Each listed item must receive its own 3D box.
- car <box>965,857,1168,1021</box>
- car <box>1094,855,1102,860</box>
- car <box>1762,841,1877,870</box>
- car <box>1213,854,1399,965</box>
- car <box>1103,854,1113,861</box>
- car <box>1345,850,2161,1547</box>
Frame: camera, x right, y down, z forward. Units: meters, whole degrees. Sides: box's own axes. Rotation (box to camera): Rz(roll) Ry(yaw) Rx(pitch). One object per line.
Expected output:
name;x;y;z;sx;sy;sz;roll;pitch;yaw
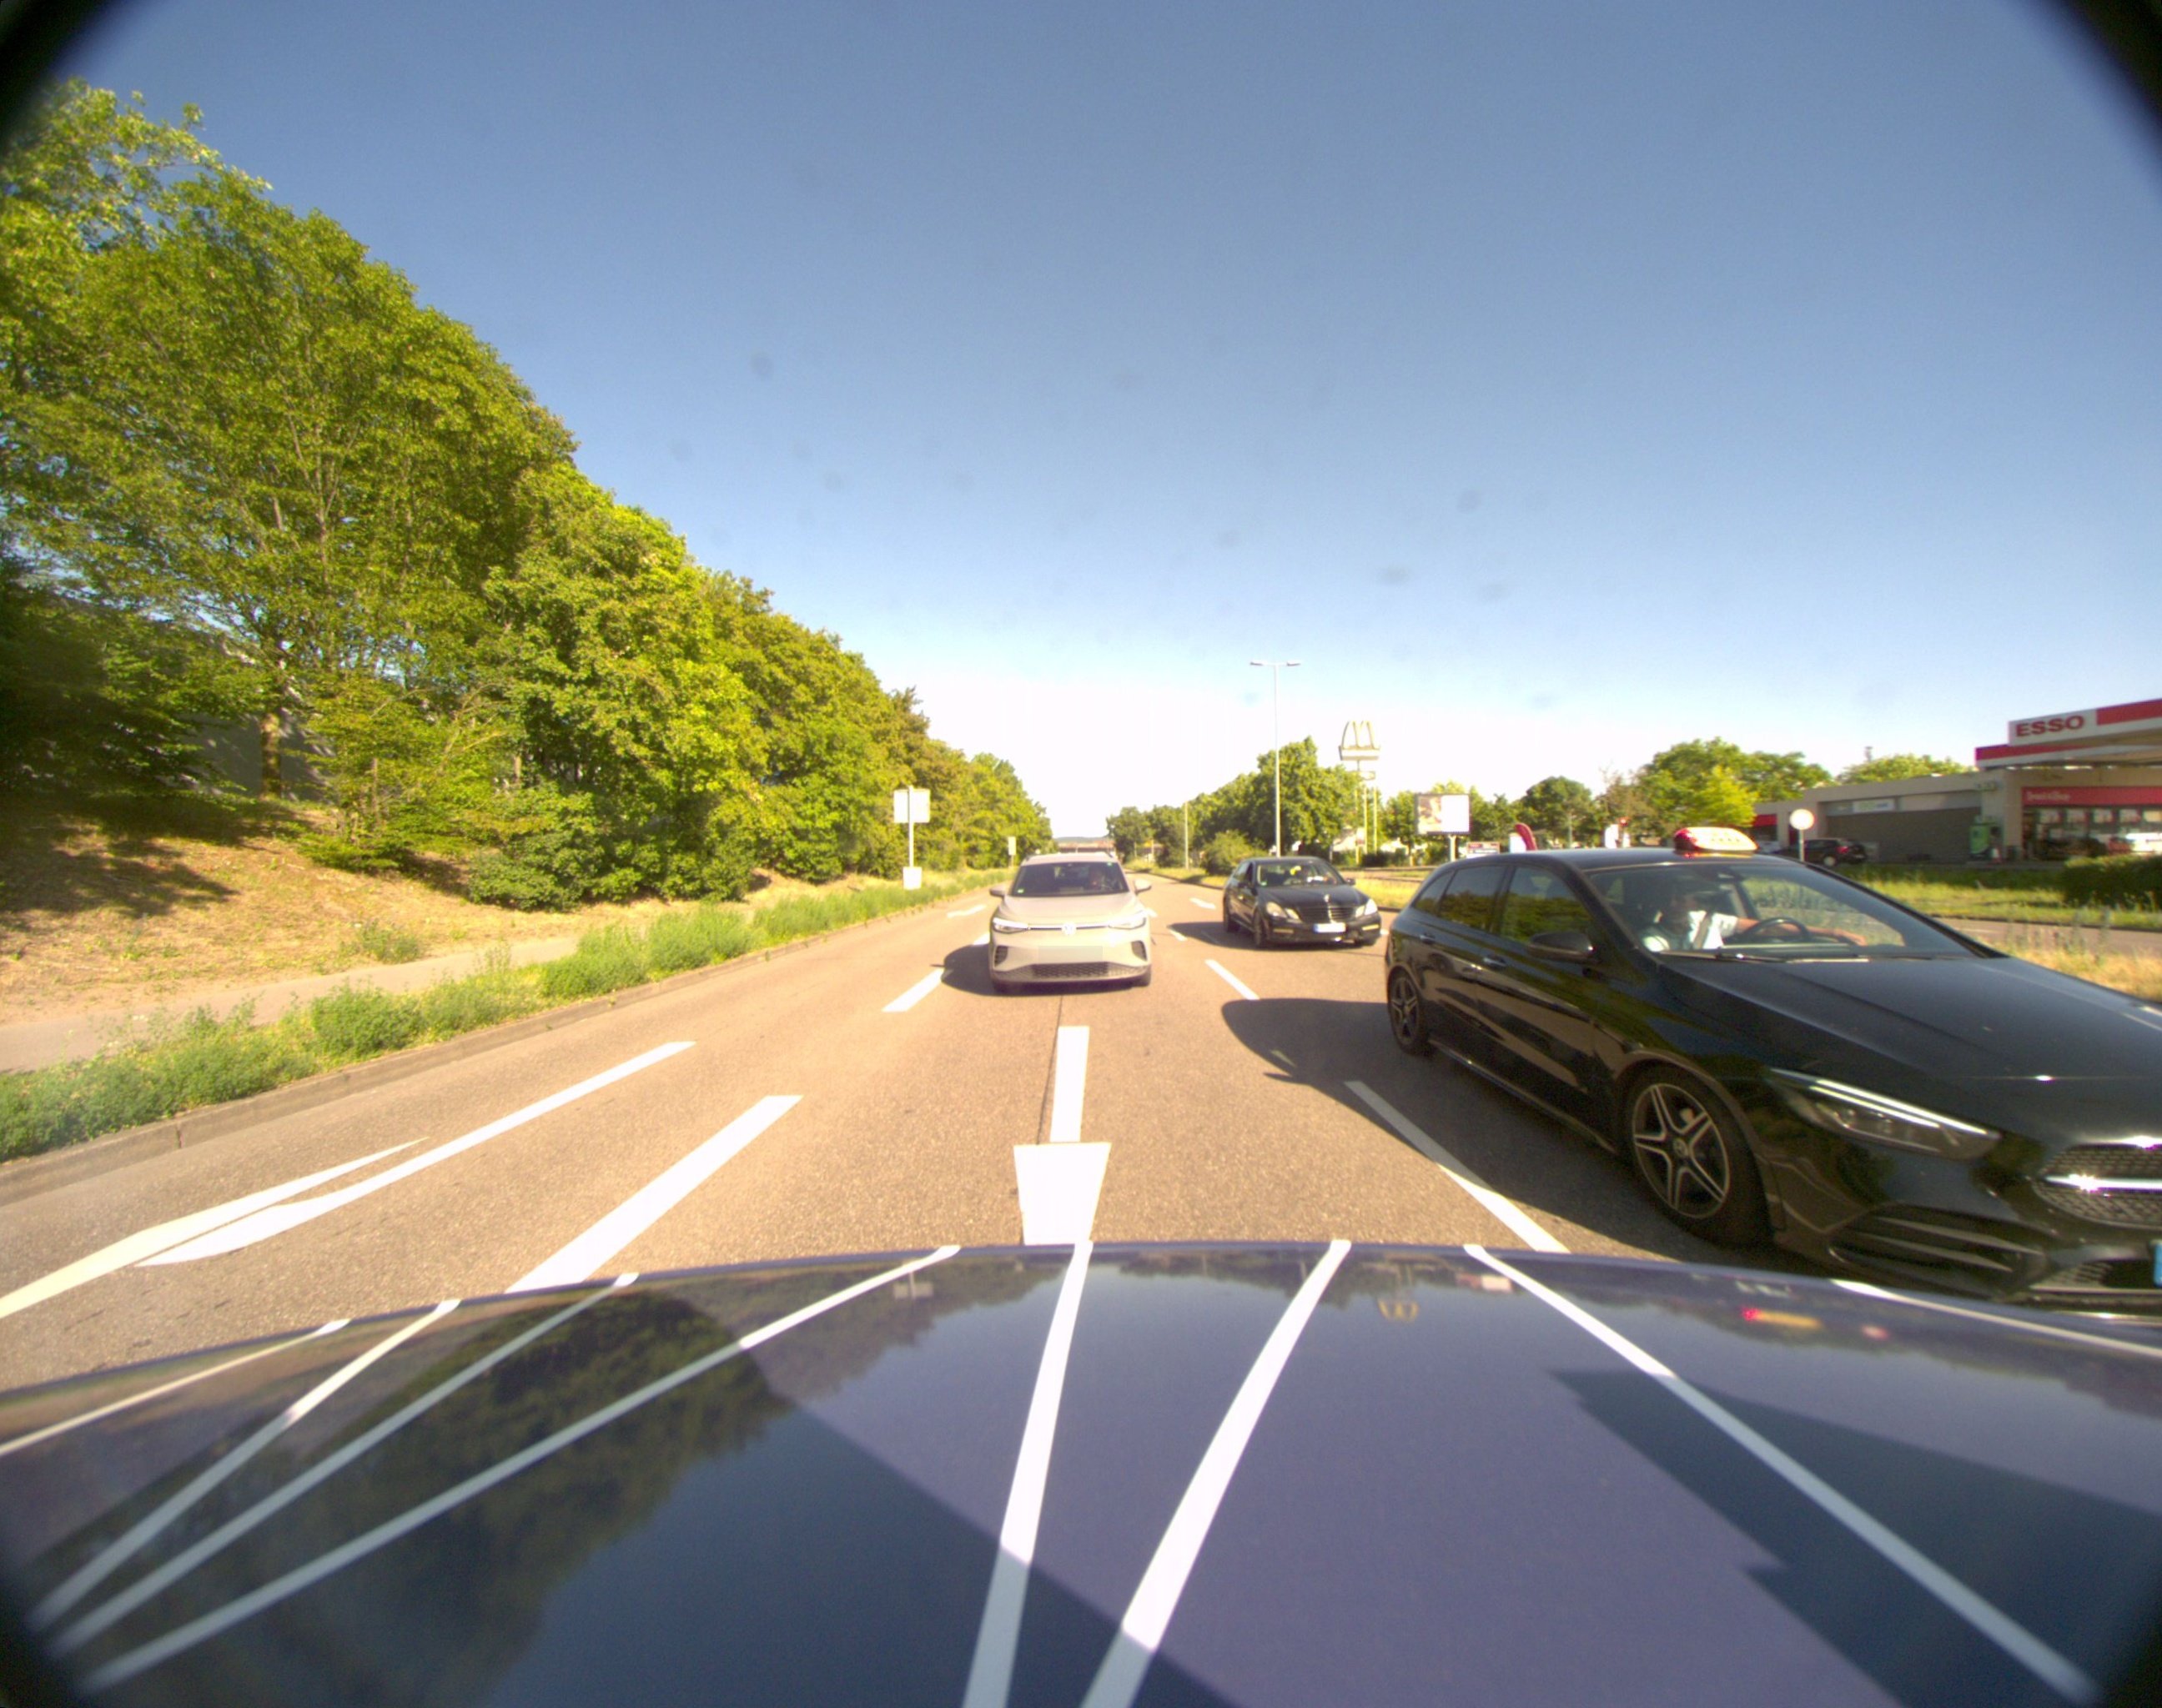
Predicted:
car;-0.124;0.885;9.866;2.025;1.601;4.098;-2;0;1
car;4.399;0.876;199.457;1.998;1.433;4.000;-1;0;1
car;37.556;0.073;38.814;1.998;1.397;4.000;-1;0;0
car;3.690;0.822;13.374;1.953;1.501;4.462;-2;1;1
car;5.380;0.680;153.500;1.998;1.433;4.000;-1;0;1
car;3.124;0.806;4.070;1.788;1.592;4.583;-2;0;0
